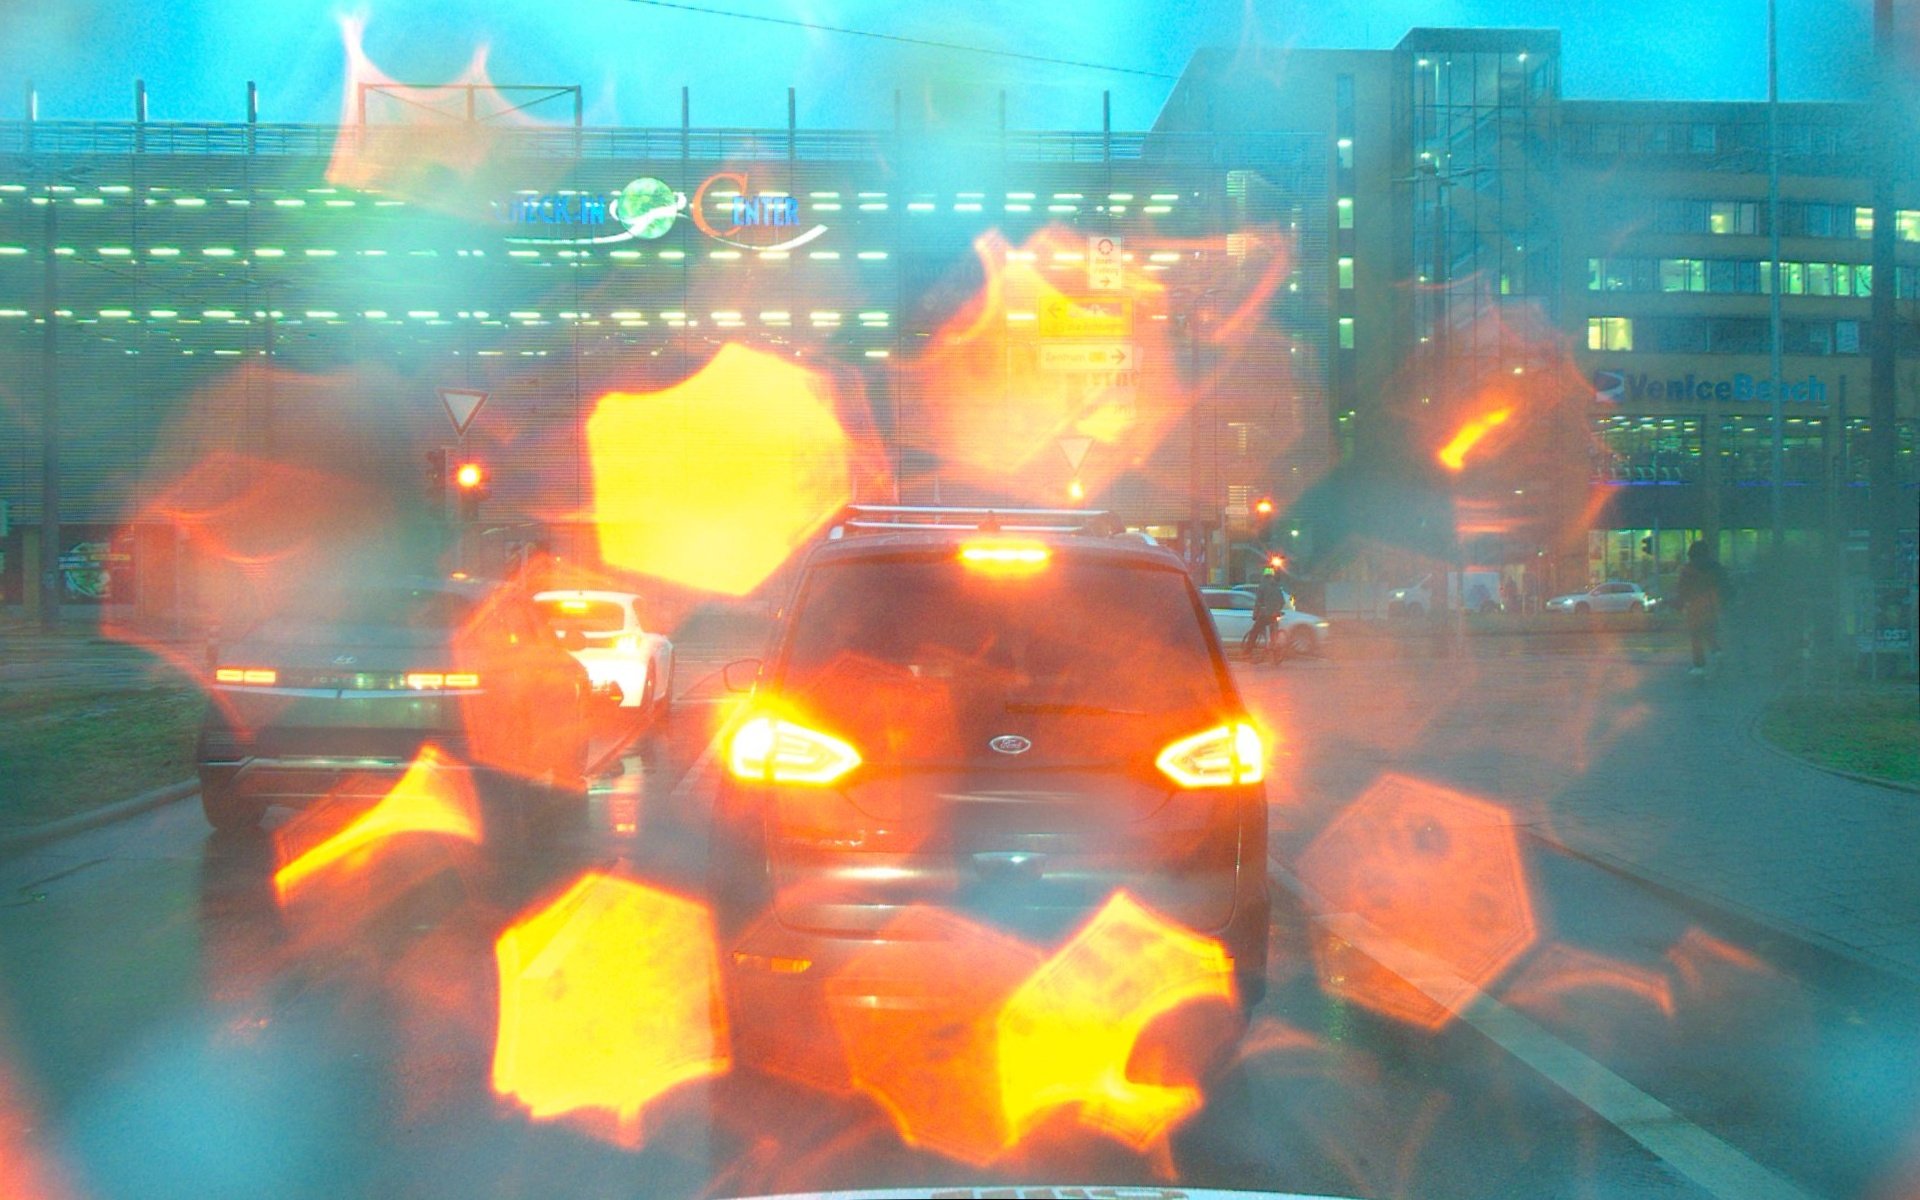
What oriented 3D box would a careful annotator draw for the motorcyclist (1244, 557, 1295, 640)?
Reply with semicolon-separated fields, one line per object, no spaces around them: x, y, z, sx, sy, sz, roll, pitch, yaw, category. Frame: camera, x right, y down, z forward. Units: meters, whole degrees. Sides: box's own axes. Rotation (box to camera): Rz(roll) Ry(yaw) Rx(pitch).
5.931;-0.030;31.747;0.850;1.561;1.109;0;0;5;motorcyclist

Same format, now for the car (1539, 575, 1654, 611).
26.422;-0.289;68.724;4.136;1.414;1.797;-1;0;-8;car

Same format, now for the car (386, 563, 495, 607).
-21.078;-0.606;67.225;3.910;1.646;1.736;2;1;-6;car

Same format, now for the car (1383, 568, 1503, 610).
19.626;-0.454;67.305;4.336;1.623;1.797;-1;0;-8;car

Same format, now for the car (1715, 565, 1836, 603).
34.718;-0.694;70.455;4.348;1.561;1.797;-1;0;-8;car

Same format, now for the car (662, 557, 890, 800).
-1.472;0.562;13.675;1.604;1.726;3.667;1;0;-5;car

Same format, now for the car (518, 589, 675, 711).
-4.175;0.519;19.462;1.512;1.273;4.060;0;0;-8;car

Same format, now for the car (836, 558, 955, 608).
-2.683;-0.703;68.244;4.747;2.035;1.797;-1;0;-8;car

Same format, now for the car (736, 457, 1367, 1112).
0.155;0.502;6.706;1.700;1.768;4.244;2;0;-3;car

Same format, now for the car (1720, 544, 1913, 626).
21.402;-0.391;41.389;3.917;1.907;1.994;-2;1;-12;car

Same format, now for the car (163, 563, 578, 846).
-3.826;0.587;11.468;1.718;1.601;3.996;0;0;-5;car

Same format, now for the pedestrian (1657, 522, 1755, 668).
10.387;-0.082;23.076;1.146;1.957;0.898;2;0;22;pedestrian

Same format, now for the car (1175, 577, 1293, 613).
11.012;-0.214;66.606;4.336;1.414;1.797;-1;0;-8;car

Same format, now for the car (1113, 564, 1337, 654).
5.881;0.191;36.884;4.583;1.883;1.827;-1;0;-10;car

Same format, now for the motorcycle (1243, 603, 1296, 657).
5.929;0.557;31.733;0.835;0.989;1.582;0;0;5;motorcycle
